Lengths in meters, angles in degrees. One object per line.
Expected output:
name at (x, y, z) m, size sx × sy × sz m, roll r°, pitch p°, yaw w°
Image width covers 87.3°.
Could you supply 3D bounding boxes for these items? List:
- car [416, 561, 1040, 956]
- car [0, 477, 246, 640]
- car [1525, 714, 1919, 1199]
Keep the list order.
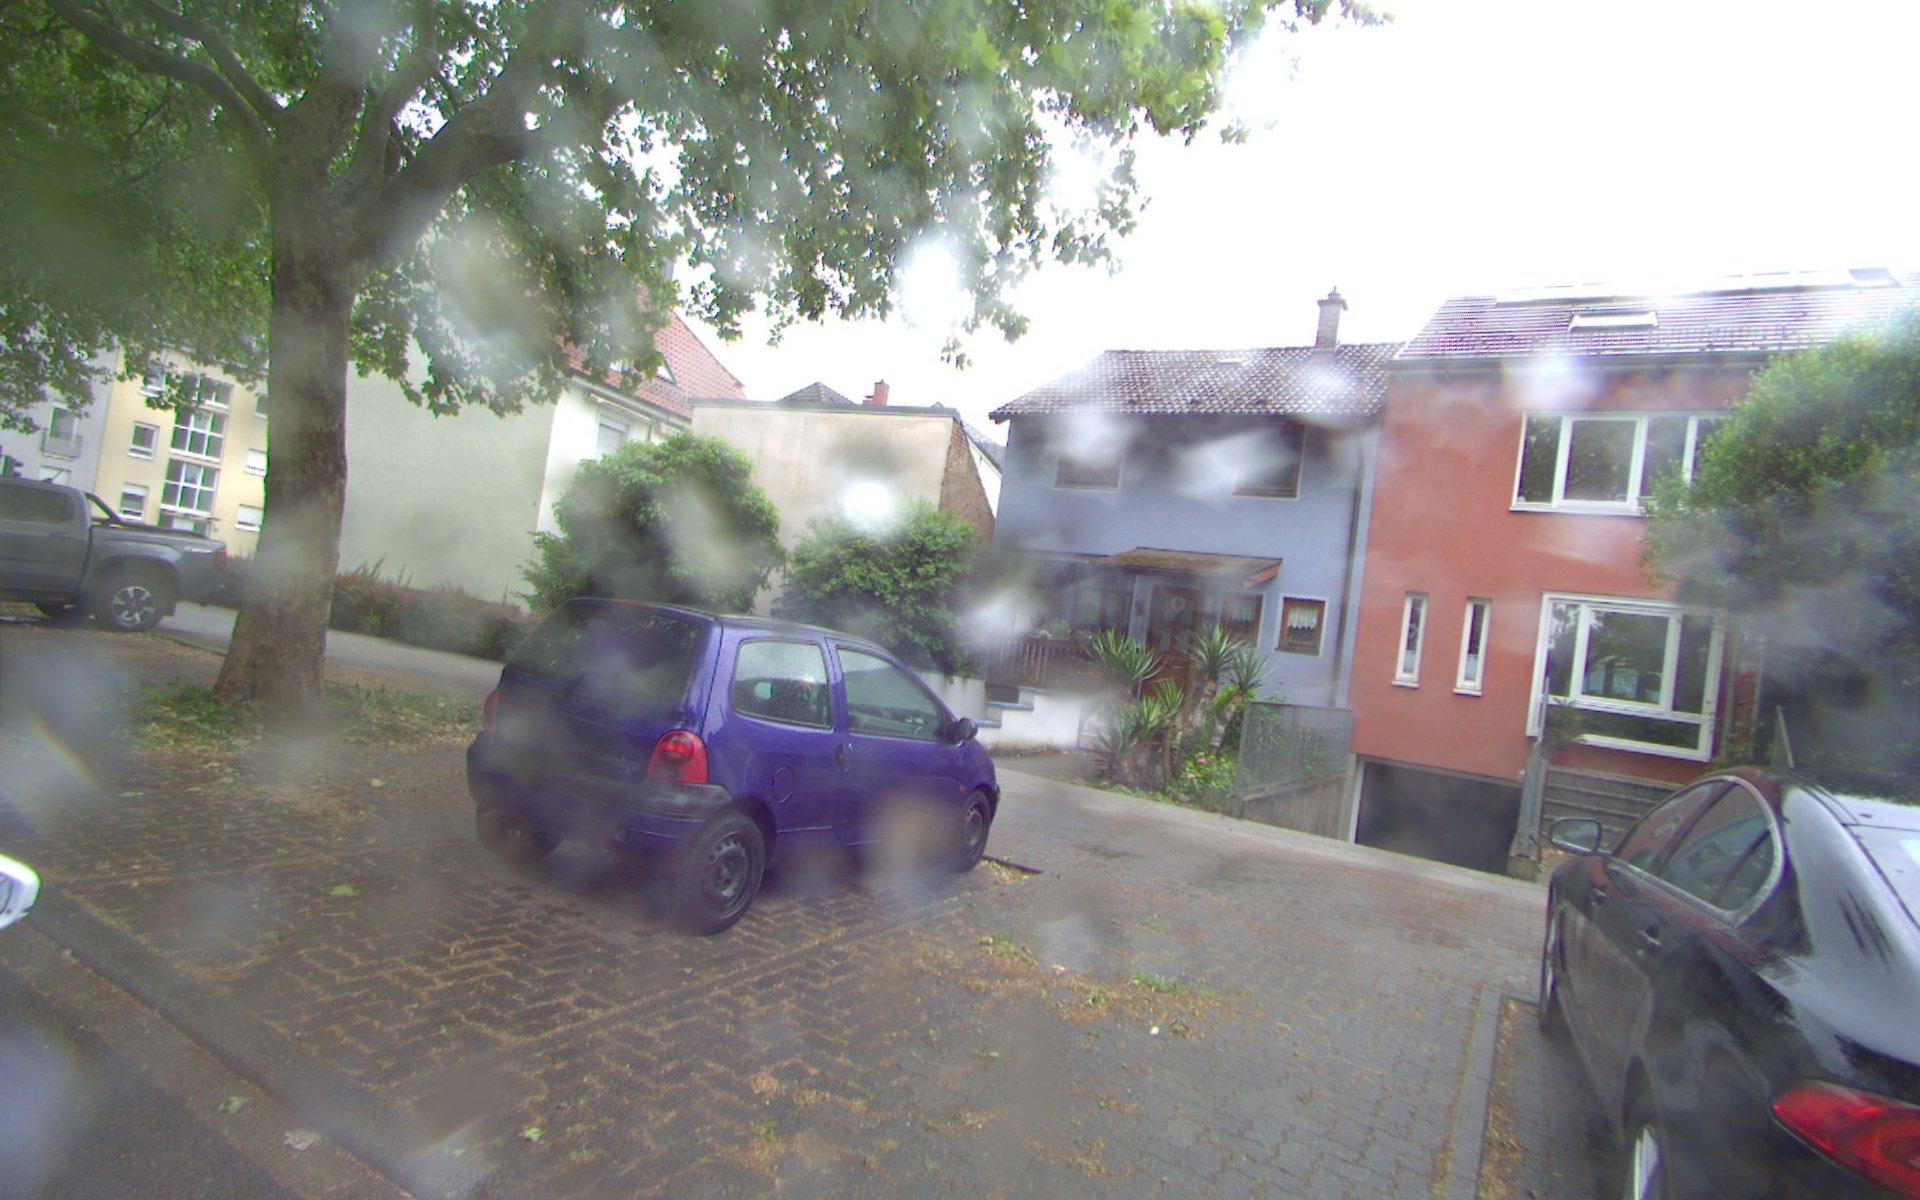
car at (-1.043, 0.810, 5.949) m, size 1.591 × 1.480 × 3.364 m, roll 7°, pitch -3°, yaw 30°
car at (-12.346, -0.655, 12.497) m, size 1.812 × 1.827 × 5.356 m, roll 7°, pitch -2°, yaw 25°
car at (3.000, 1.249, 2.993) m, size 1.903 × 1.489 × 4.780 m, roll 7°, pitch -2°, yaw 27°
